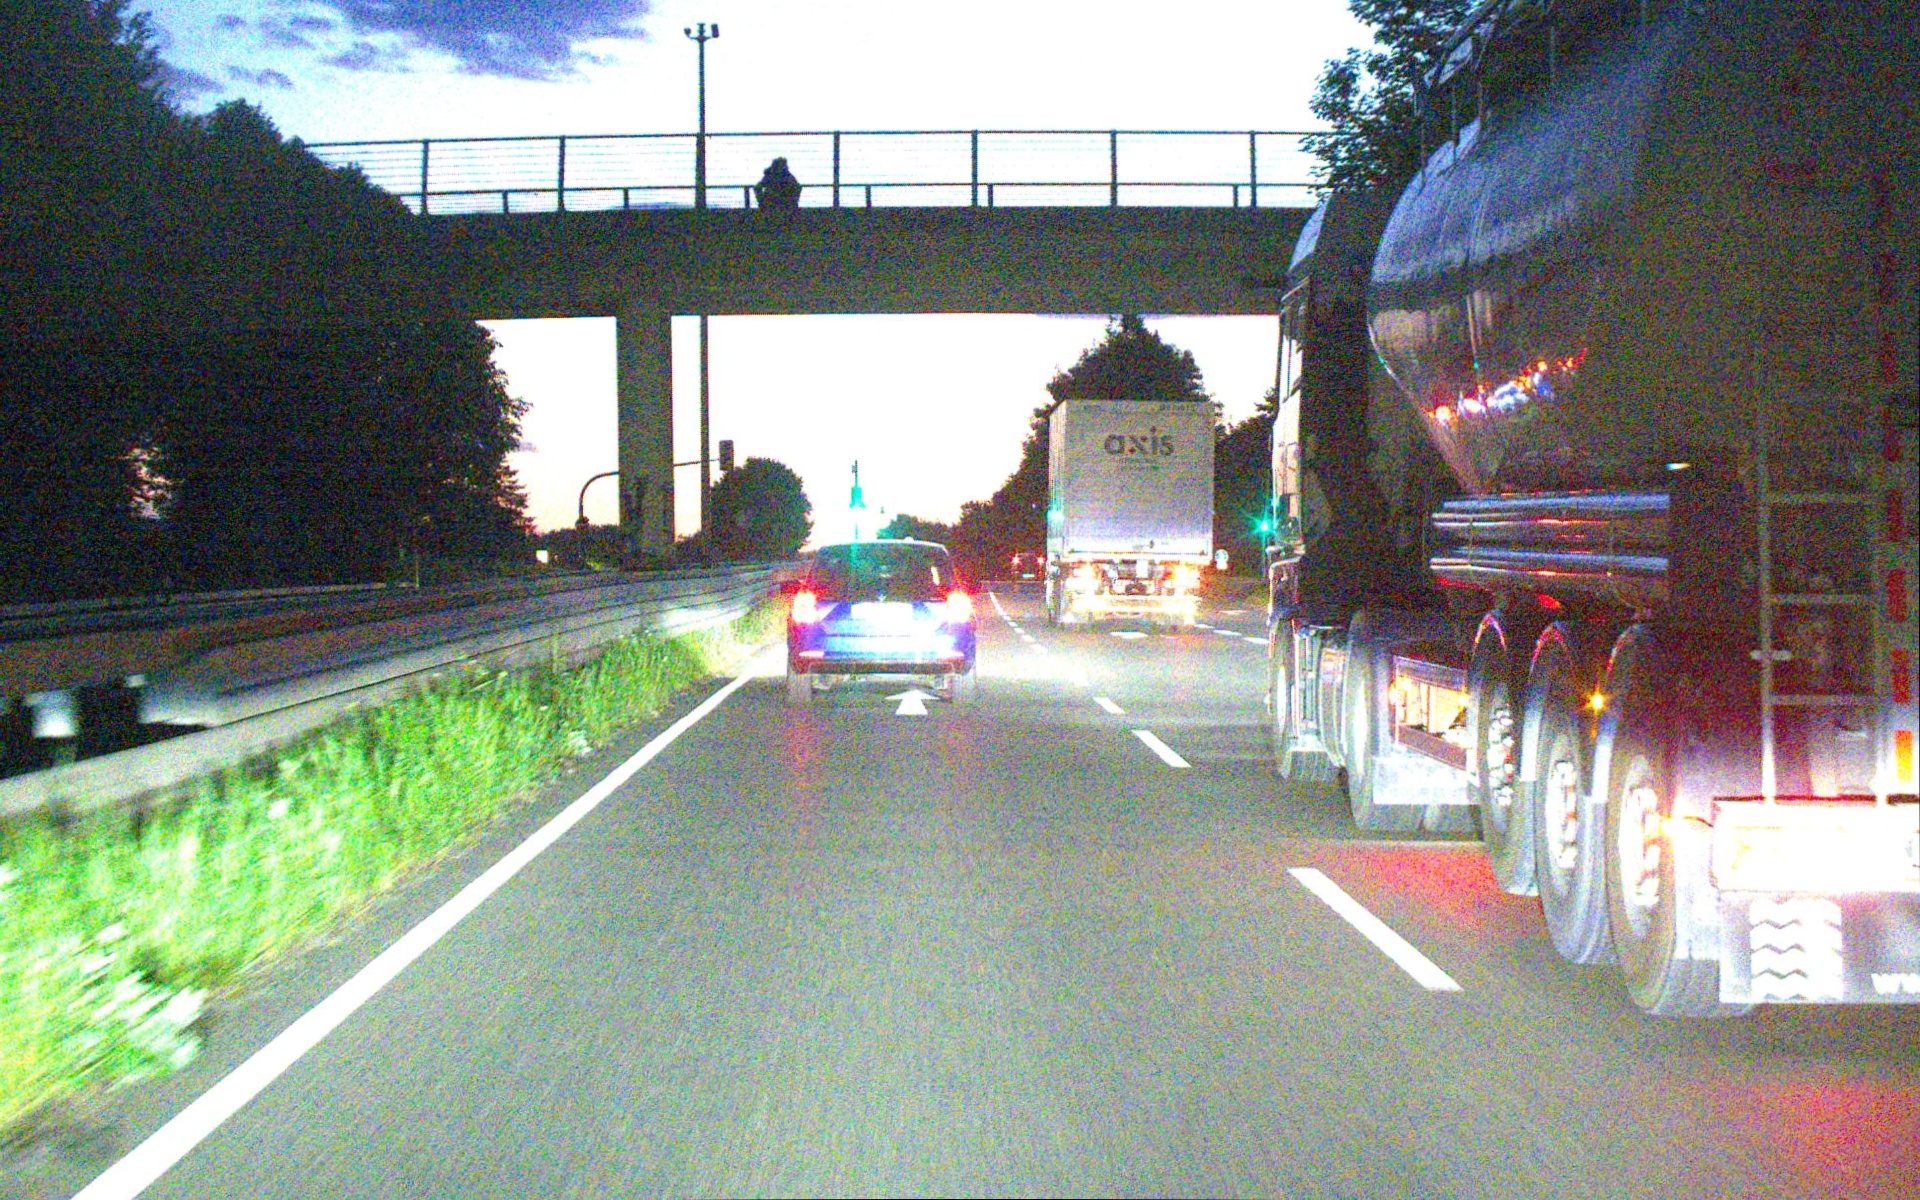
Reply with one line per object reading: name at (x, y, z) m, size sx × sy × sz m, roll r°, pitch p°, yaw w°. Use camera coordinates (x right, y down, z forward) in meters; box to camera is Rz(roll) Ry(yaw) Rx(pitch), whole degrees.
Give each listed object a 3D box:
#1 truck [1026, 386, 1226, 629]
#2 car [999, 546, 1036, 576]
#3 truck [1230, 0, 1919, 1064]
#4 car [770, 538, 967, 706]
truck at (2.921, -1.644, 64.453) m, size 2.883 × 4.092 × 12.684 m, roll 1°, pitch 1°, yaw -1°
car at (2.842, -1.933, 169.647) m, size 1.695 × 1.447 × 3.914 m, roll 1°, pitch 1°, yaw -1°
truck at (3.286, -0.787, 16.475) m, size 2.687 × 4.092 × 13.142 m, roll 1°, pitch 1°, yaw -1°
car at (-0.825, 0.165, 31.748) m, size 1.695 × 1.447 × 3.914 m, roll 1°, pitch 1°, yaw -1°
